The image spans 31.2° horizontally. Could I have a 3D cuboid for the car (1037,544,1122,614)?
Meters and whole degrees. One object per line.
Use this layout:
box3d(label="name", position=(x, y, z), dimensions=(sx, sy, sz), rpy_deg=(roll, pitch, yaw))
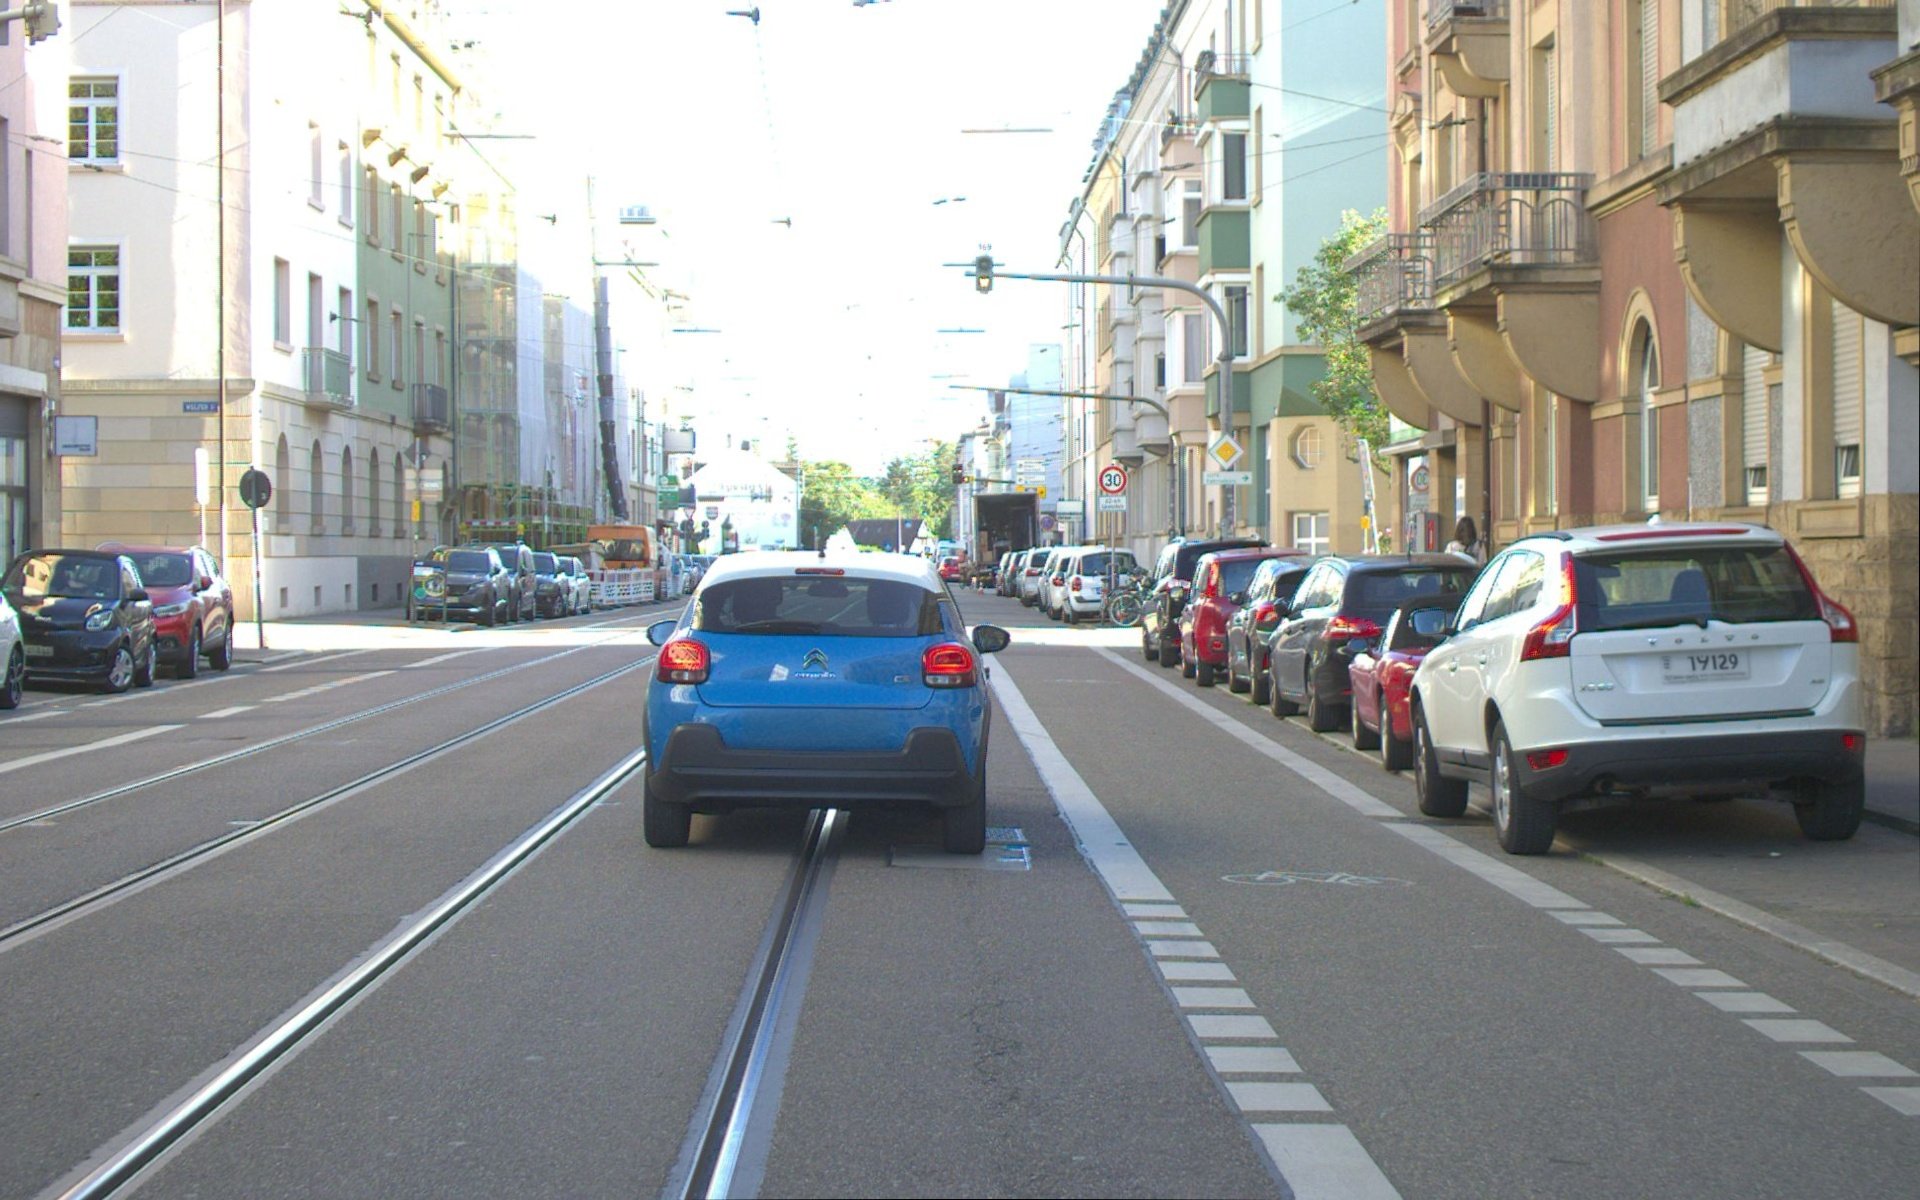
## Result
box3d(label="car", position=(2.748, -0.508, 79.601), dimensions=(1.783, 1.570, 4.326), rpy_deg=(0, 1, 0))

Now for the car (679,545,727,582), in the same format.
box3d(label="car", position=(-11.601, -1.652, 155.164), dimensions=(1.826, 1.626, 4.849), rpy_deg=(0, 1, 0))

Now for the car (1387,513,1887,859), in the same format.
box3d(label="car", position=(3.581, 0.384, 19.024), dimensions=(1.843, 1.685, 4.505), rpy_deg=(0, 1, 0))

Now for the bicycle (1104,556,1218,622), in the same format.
box3d(label="bicycle", position=(3.849, -0.219, 65.987), dimensions=(2.086, 1.150, 0.848), rpy_deg=(-3, 1, 0))

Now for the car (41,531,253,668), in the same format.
box3d(label="car", position=(-10.222, -0.043, 43.505), dimensions=(1.783, 1.601, 4.398), rpy_deg=(2, 1, -3))

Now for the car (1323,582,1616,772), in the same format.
box3d(label="car", position=(3.711, 0.512, 25.698), dimensions=(1.654, 1.245, 4.505), rpy_deg=(0, 1, 2))

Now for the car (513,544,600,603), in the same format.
box3d(label="car", position=(-10.719, -0.719, 91.602), dimensions=(1.718, 1.497, 4.388), rpy_deg=(2, 1, 1))

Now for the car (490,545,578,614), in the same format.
box3d(label="car", position=(-10.567, -0.536, 85.569), dimensions=(1.783, 1.621, 4.610), rpy_deg=(2, 1, -3))

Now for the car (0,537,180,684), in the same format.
box3d(label="car", position=(-10.058, 0.091, 38.864), dimensions=(1.783, 1.547, 3.019), rpy_deg=(2, 1, -1))

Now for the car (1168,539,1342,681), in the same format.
box3d(label="car", position=(3.417, 0.078, 40.369), dimensions=(1.753, 1.589, 3.730), rpy_deg=(0, 1, 1))

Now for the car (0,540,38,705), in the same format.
box3d(label="car", position=(-10.252, 0.210, 33.058), dimensions=(1.783, 1.616, 4.180), rpy_deg=(2, 1, -3))

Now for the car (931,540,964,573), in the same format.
box3d(label="car", position=(-0.846, -3.011, 237.135), dimensions=(2.220, 2.276, 4.084), rpy_deg=(0, 1, 0))

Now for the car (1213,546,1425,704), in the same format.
box3d(label="car", position=(3.610, 0.204, 35.203), dimensions=(1.654, 1.508, 4.474), rpy_deg=(0, 1, -1))

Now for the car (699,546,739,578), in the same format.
box3d(label="car", position=(-12.267, -1.932, 175.235), dimensions=(1.826, 1.626, 3.905), rpy_deg=(0, 1, -1))

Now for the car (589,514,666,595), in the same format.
box3d(label="car", position=(-10.503, -1.447, 108.926), dimensions=(2.144, 2.467, 4.981), rpy_deg=(1, 1, -3))

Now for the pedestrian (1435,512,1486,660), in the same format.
box3d(label="pedestrian", position=(5.700, -0.160, 39.184), dimensions=(0.513, 1.681, 0.448), rpy_deg=(0, 1, -1))

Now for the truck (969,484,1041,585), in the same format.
box3d(label="truck", position=(1.869, -2.722, 144.717), dimensions=(2.853, 4.069, 11.271), rpy_deg=(0, 1, 0))

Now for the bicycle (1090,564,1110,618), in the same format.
box3d(label="bicycle", position=(2.812, -0.187, 68.937), dimensions=(0.353, 1.041, 1.728), rpy_deg=(0, 1, 1))

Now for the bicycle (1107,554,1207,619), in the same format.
box3d(label="bicycle", position=(3.816, -0.265, 66.674), dimensions=(1.842, 1.150, 0.469), rpy_deg=(-3, 1, 0))

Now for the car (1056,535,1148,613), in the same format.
box3d(label="car", position=(3.014, -0.567, 73.717), dimensions=(1.783, 1.626, 4.000), rpy_deg=(0, 1, 0))

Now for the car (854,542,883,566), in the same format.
box3d(label="car", position=(-6.182, -3.089, 232.022), dimensions=(1.826, 1.626, 4.490), rpy_deg=(0, 1, 0))

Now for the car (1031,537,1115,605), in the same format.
box3d(label="car", position=(2.948, -0.775, 90.524), dimensions=(1.654, 1.746, 4.604), rpy_deg=(0, 1, -5))

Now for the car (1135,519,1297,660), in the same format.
box3d(label="car", position=(3.428, -0.169, 46.681), dimensions=(1.753, 1.730, 4.507), rpy_deg=(-3, 1, 0))

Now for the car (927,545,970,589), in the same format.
box3d(label="car", position=(-0.516, -1.479, 151.691), dimensions=(1.821, 1.888, 4.000), rpy_deg=(1, 1, -1))

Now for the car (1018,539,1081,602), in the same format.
box3d(label="car", position=(2.668, -0.893, 102.910), dimensions=(1.730, 1.821, 4.686), rpy_deg=(0, 1, 0))

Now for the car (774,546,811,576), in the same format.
box3d(label="car", position=(-9.298, -2.176, 191.249), dimensions=(1.826, 1.626, 4.490), rpy_deg=(0, 1, 0))

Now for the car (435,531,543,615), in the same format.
box3d(label="car", position=(-10.696, -0.639, 78.320), dimensions=(1.783, 1.810, 4.528), rpy_deg=(2, 1, 0))

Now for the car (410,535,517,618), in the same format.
box3d(label="car", position=(-10.614, -0.528, 73.730), dimensions=(1.783, 1.684, 4.668), rpy_deg=(2, 1, -3))

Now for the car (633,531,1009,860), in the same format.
box3d(label="car", position=(-0.673, 0.421, 18.258), dimensions=(1.735, 1.502, 3.992), rpy_deg=(2, 1, 0))

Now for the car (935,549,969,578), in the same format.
box3d(label="car", position=(-0.415, -1.880, 177.881), dimensions=(1.765, 1.481, 4.032), rpy_deg=(0, 1, 0))

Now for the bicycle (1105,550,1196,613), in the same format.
box3d(label="bicycle", position=(3.789, -0.372, 68.458), dimensions=(1.722, 1.150, 0.469), rpy_deg=(-3, 1, 0))

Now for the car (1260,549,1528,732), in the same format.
box3d(label="car", position=(3.713, 0.295, 30.101), dimensions=(1.654, 1.478, 4.475), rpy_deg=(0, 1, -2))
